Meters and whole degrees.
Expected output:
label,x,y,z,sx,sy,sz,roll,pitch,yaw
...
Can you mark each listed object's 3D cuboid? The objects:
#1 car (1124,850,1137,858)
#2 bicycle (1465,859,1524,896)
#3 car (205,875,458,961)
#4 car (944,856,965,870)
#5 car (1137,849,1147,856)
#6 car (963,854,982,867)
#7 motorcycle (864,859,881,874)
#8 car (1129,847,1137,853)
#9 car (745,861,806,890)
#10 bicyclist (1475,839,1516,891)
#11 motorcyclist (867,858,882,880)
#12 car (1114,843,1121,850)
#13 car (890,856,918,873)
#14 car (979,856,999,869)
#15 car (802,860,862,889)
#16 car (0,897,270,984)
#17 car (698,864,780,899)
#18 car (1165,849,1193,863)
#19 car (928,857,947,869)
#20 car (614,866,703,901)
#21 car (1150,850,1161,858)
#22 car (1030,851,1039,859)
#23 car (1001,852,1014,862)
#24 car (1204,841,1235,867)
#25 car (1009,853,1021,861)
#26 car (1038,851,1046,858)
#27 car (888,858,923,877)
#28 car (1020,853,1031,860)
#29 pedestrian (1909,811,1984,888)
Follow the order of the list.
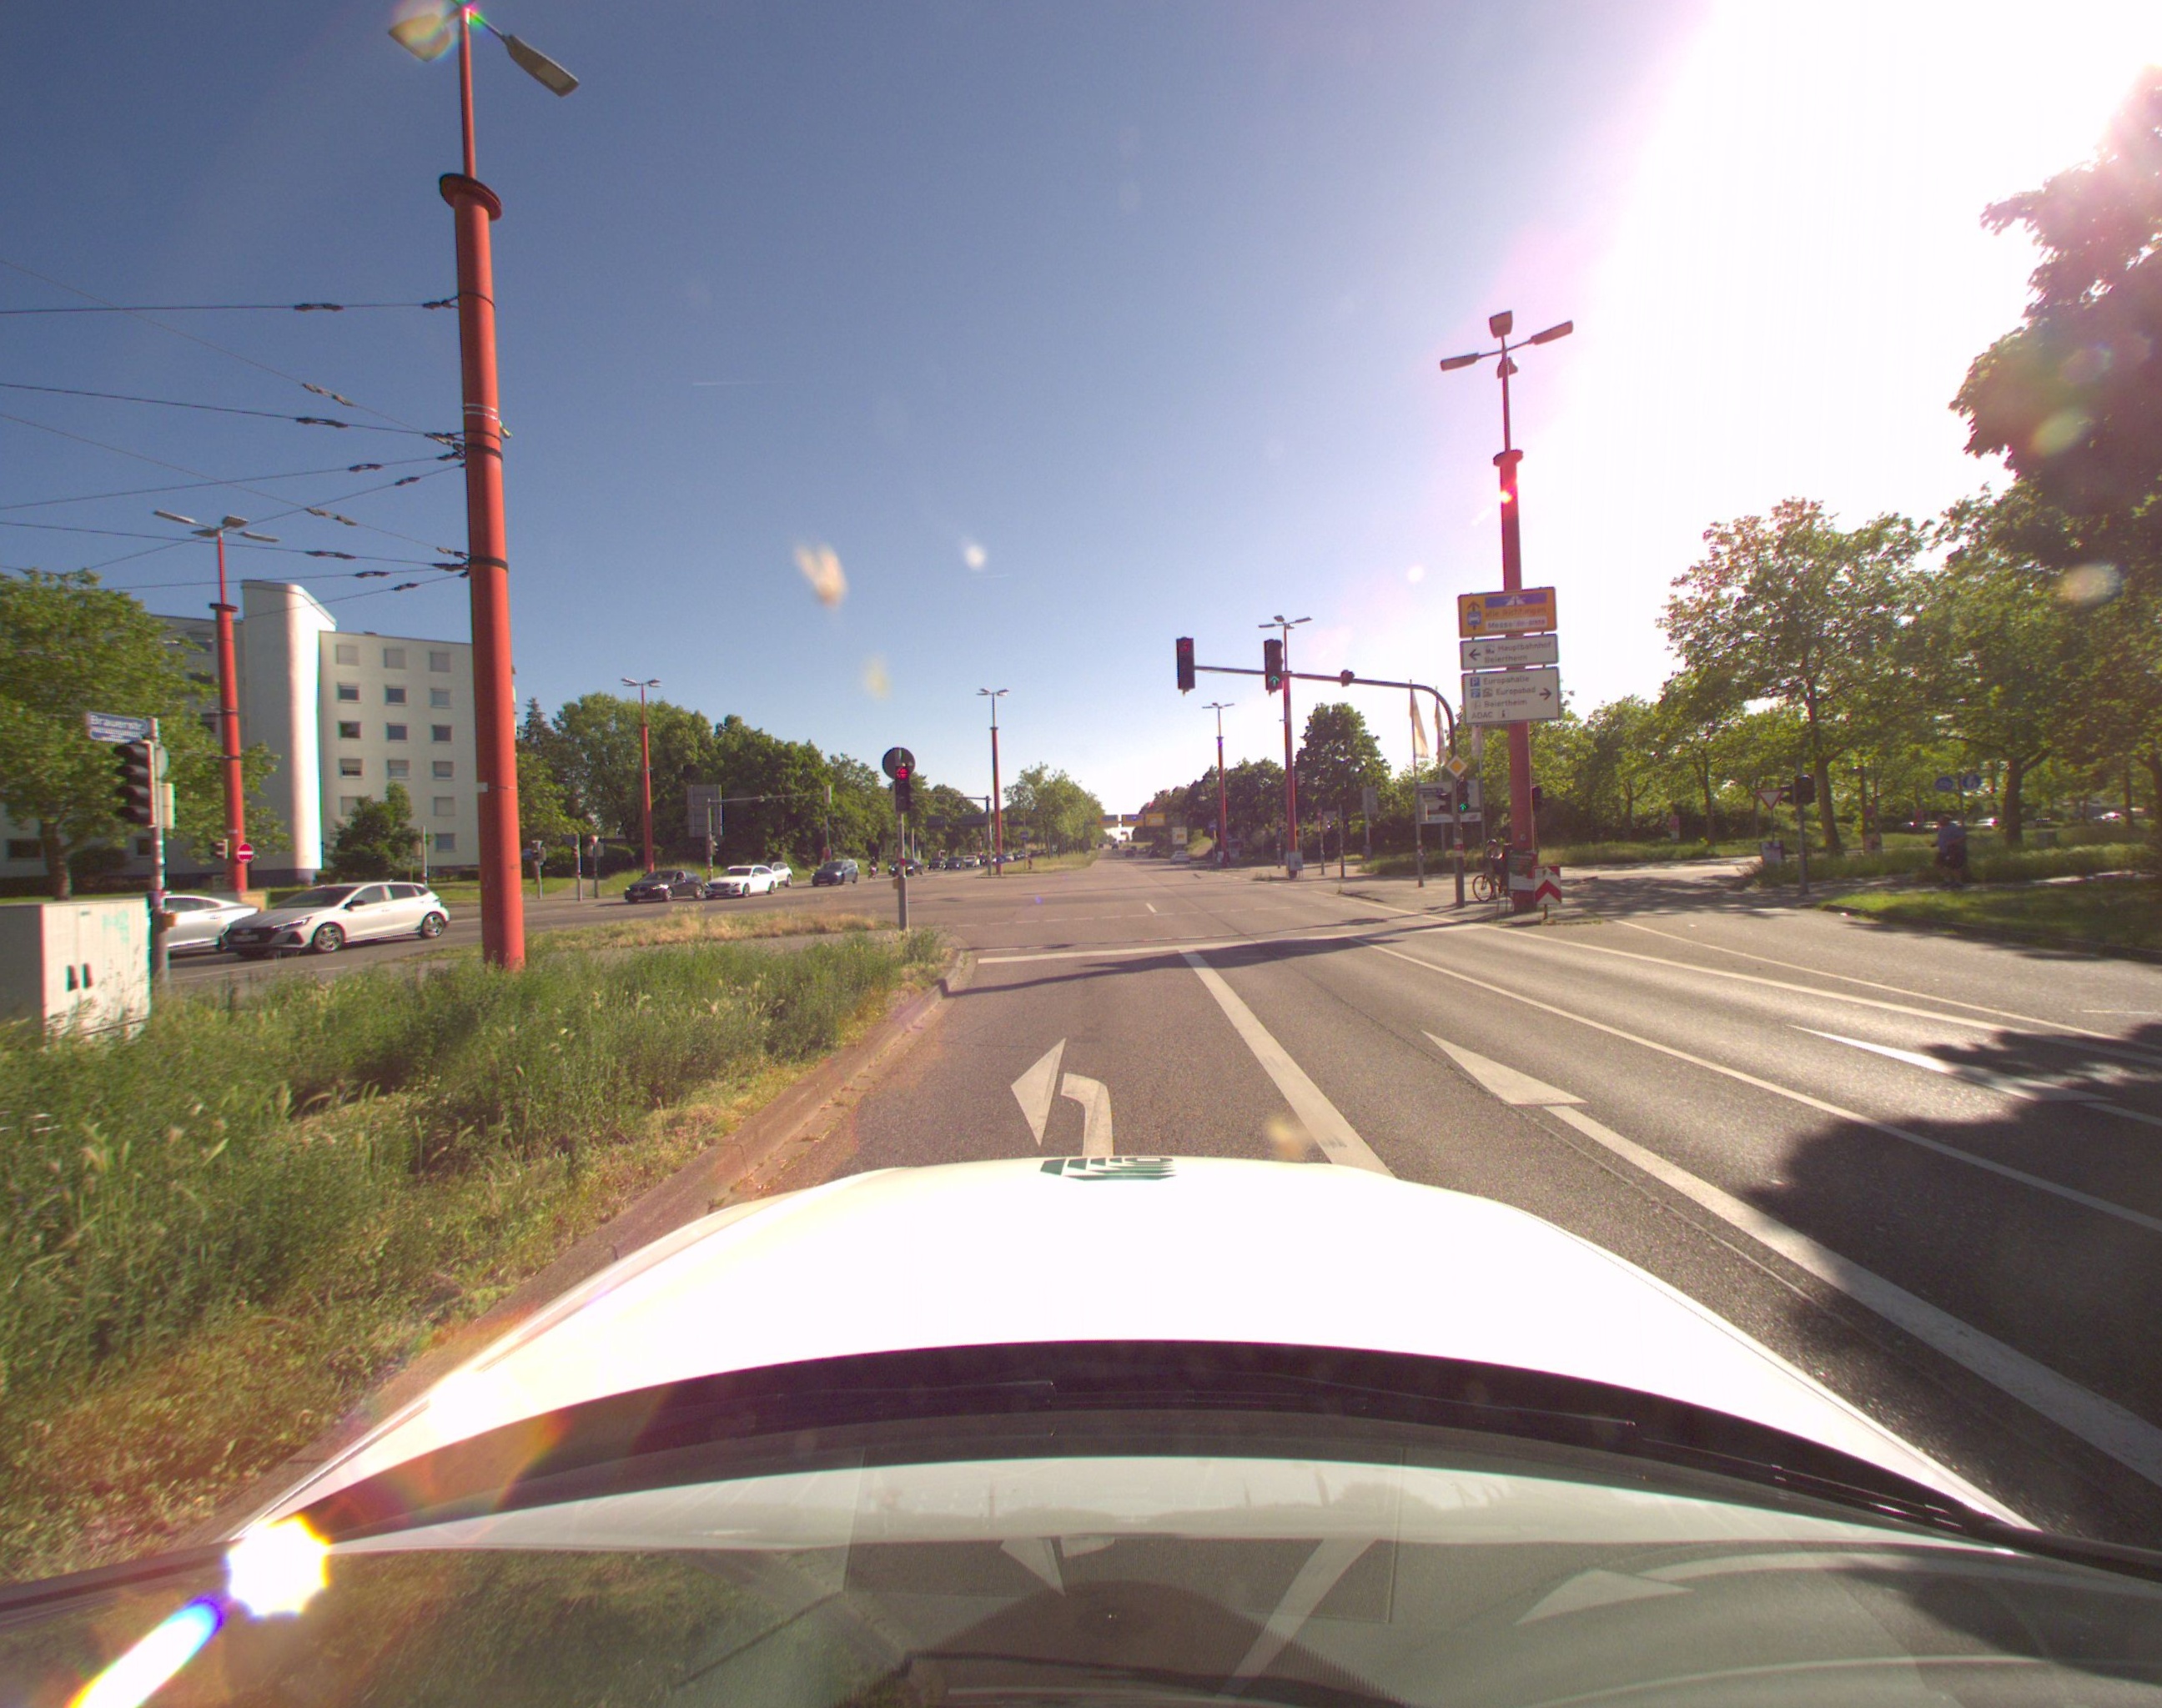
label,x,y,z,sx,sy,sz,roll,pitch,yaw
car,9.482,-0.046,156.342,1.989,1.496,3.995,-2,0,-4
bicycle,10.922,0.605,21.492,2.180,0.878,0.553,-2,0,-40
car,-16.544,1.332,18.329,1.582,1.472,4.186,-3,1,3
car,-13.898,0.996,89.897,1.542,1.377,4.263,-2,0,1
car,13.438,-0.339,179.968,1.986,1.540,4.002,-1,0,2
car,-13.367,0.820,100.594,1.599,1.459,3.952,-2,0,2
motorcycle,-15.293,0.905,59.826,0.418,1.131,2.100,-1,0,9
car,14.872,-1.133,231.692,1.984,1.540,4.006,-2,0,5
car,-18.857,1.277,50.438,1.830,1.601,4.442,-2,0,4
bicyclist,10.976,0.282,21.572,0.745,1.341,0.700,-2,0,-38
motorcyclist,-15.190,1.071,59.965,0.830,1.599,0.642,-1,-1,8
car,11.560,-2.461,259.347,2.146,2.013,4.002,-2,0,2
car,-17.662,1.049,81.218,1.870,1.576,4.000,-1,0,0
car,-10.743,1.008,95.452,1.694,1.421,4.002,1,0,2
car,-15.222,1.201,50.045,1.985,1.594,4.468,-3,0,3
car,-20.288,1.705,17.105,1.986,1.374,4.402,-1,0,2
car,-15.917,1.253,38.165,1.697,1.423,4.644,-3,0,2
car,10.495,0.238,87.477,2.052,1.371,4.383,-2,0,-6
car,-17.848,1.075,101.329,1.538,1.433,3.887,-3,0,2
car,-19.202,1.307,37.201,1.855,1.341,4.031,-3,0,1
car,12.535,-0.015,136.984,1.731,1.341,3.083,-2,0,2
car,-10.661,0.254,188.356,1.619,1.739,4.003,-2,0,2
car,-12.421,0.458,137.622,1.697,1.596,4.003,-1,0,3
car,10.560,-0.008,61.889,1.979,1.887,4.016,-2,0,14
car,-12.199,0.559,150.222,1.697,1.558,3.806,-1,0,2
car,-9.895,0.132,208.266,1.650,1.747,4.003,-1,0,3
car,-14.609,1.095,67.892,1.870,1.485,4.605,-1,0,0
car,-11.068,0.576,162.132,1.998,1.308,3.998,-2,0,-1
pedestrian,20.602,-0.119,19.403,0.891,1.788,0.897,-1,1,-11
